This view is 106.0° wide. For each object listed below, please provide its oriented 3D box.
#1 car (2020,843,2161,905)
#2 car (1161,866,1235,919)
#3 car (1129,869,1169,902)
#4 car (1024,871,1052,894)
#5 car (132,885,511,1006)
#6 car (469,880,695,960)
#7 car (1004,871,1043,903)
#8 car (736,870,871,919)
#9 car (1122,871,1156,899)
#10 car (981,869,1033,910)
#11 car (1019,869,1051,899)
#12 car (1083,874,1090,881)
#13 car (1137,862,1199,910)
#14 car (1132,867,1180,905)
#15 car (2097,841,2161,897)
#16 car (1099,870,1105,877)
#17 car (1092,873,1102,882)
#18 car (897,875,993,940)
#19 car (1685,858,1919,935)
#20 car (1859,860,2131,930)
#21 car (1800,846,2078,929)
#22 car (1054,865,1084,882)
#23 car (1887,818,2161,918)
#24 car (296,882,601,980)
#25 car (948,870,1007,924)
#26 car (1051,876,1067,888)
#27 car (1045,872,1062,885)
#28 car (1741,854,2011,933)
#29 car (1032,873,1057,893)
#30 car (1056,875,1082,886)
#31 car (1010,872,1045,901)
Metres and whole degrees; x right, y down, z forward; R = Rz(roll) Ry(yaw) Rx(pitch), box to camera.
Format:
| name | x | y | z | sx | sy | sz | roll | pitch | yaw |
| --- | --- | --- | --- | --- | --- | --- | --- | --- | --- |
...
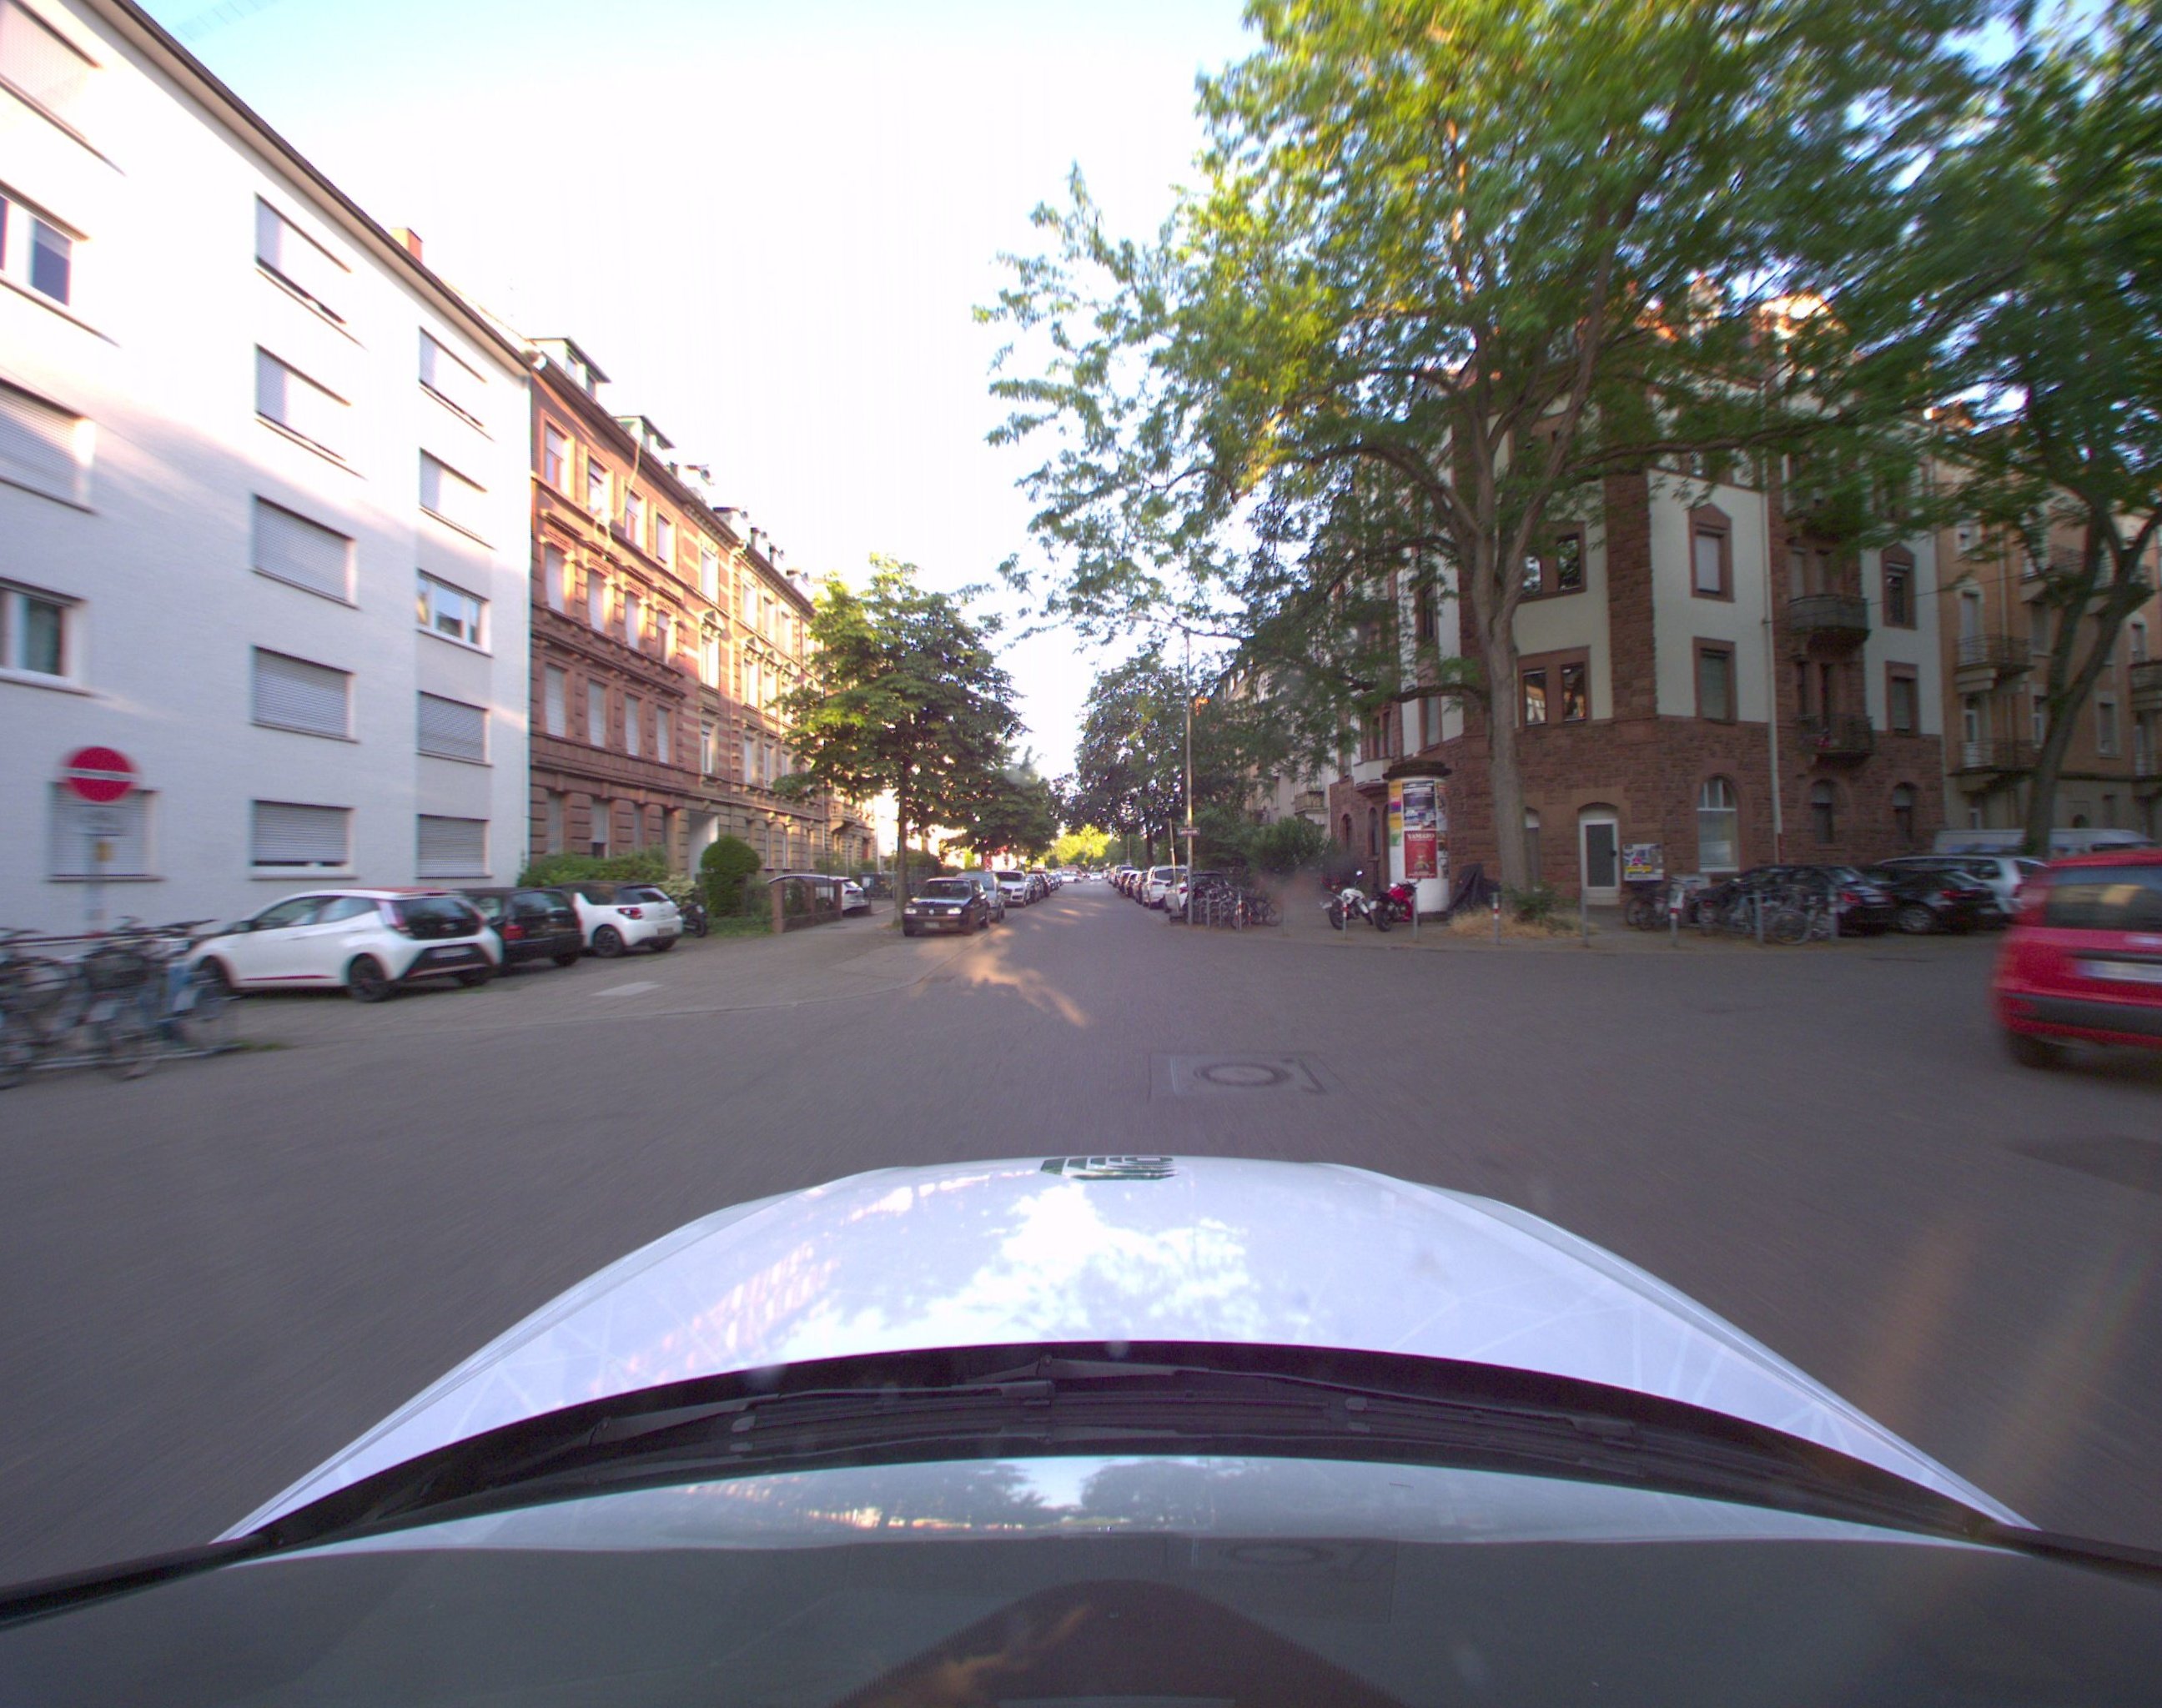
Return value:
| name | x | y | z | sx | sy | sz | roll | pitch | yaw |
| --- | --- | --- | --- | --- | --- | --- | --- | --- | --- |
| car | 30.735 | 0.567 | 23.700 | 1.993 | 1.706 | 3.987 | -1 | -1 | -9 |
| car | 3.780 | 1.213 | 26.852 | 1.683 | 1.592 | 3.654 | -1 | -1 | -3 |
| car | 3.509 | 1.617 | 42.581 | 1.682 | 1.606 | 3.745 | -1 | -2 | -2 |
| car | -3.030 | 2.014 | 58.458 | 1.710 | 1.596 | 4.519 | -1 | -1 | 1 |
| car | -10.498 | 1.209 | 11.387 | 4.068 | 1.447 | 1.713 | -1 | 0 | 9 |
| car | -10.003 | 1.289 | 16.466 | 3.542 | 1.447 | 1.822 | -1 | 0 | 9 |
| car | -2.986 | 1.735 | 43.102 | 1.710 | 1.566 | 3.780 | -1 | -2 | 1 |
| car | -9.658 | 1.399 | 28.570 | 4.080 | 1.528 | 1.708 | 2 | -1 | -1 |
| car | 3.349 | 1.806 | 47.899 | 1.681 | 1.441 | 4.209 | -3 | -2 | 0 |
| car | -3.350 | 1.583 | 37.591 | 1.915 | 1.717 | 4.427 | -1 | -1 | 1 |
| car | -2.837 | 1.868 | 51.468 | 1.710 | 1.790 | 4.215 | -1 | -1 | 1 |
| car | 1.418 | 5.955 | 205.782 | 1.710 | 1.596 | 3.482 | -1 | -1 | 1 |
| car | 3.402 | 1.263 | 32.673 | 1.793 | 1.711 | 4.597 | -1 | -2 | -2 |
| car | 3.391 | 1.437 | 37.337 | 1.682 | 1.606 | 4.206 | -1 | -2 | -2 |
| car | 35.853 | 0.457 | 25.864 | 1.993 | 1.816 | 3.987 | -1 | -1 | -9 |
| car | 5.534 | 5.148 | 215.274 | 1.710 | 1.596 | 3.482 | -1 | -1 | 1 |
| car | 2.814 | 4.168 | 143.484 | 1.807 | 1.596 | 3.482 | -1 | -1 | 1 |
| car | -3.454 | 1.329 | 21.322 | 1.609 | 1.470 | 3.964 | -1 | -1 | 3 |
| car | 15.449 | 0.868 | 17.675 | 1.679 | 1.478 | 3.414 | 0 | -2 | -16 |
| car | 21.900 | 0.956 | 19.749 | 1.856 | 1.518 | 3.974 | 1 | -2 | -19 |
| car | 19.935 | 0.750 | 19.180 | 1.776 | 1.721 | 4.116 | -1 | -1 | -19 |
| car | -1.800 | 2.826 | 118.809 | 4.337 | 2.318 | 1.744 | -1 | -1 | -1 |
| car | 26.477 | 0.394 | 22.445 | 2.401 | 2.419 | 5.509 | 0 | -1 | -22 |
| car | -10.657 | 1.249 | 13.854 | 4.067 | 1.447 | 1.823 | -1 | 0 | 10 |
| car | -3.298 | 1.337 | 26.485 | 1.592 | 1.603 | 3.740 | -1 | -1 | -3 |
| car | -2.757 | 3.504 | 101.603 | 1.709 | 1.441 | 3.631 | -1 | -1 | 1 |
| car | -3.187 | 2.913 | 95.690 | 1.709 | 1.486 | 3.631 | -1 | -2 | 1 |
| car | 17.692 | 0.833 | 18.406 | 1.824 | 1.554 | 3.977 | -1 | -1 | -16 |
| car | -2.827 | 2.249 | 63.257 | 1.710 | 1.465 | 3.987 | -1 | -1 | 1 |
| car | -1.768 | 3.777 | 116.009 | 3.610 | 1.461 | 1.604 | -1 | -1 | -4 |
| car | -3.071 | 1.878 | 47.277 | 1.710 | 1.566 | 3.788 | -1 | -1 | 1 |
